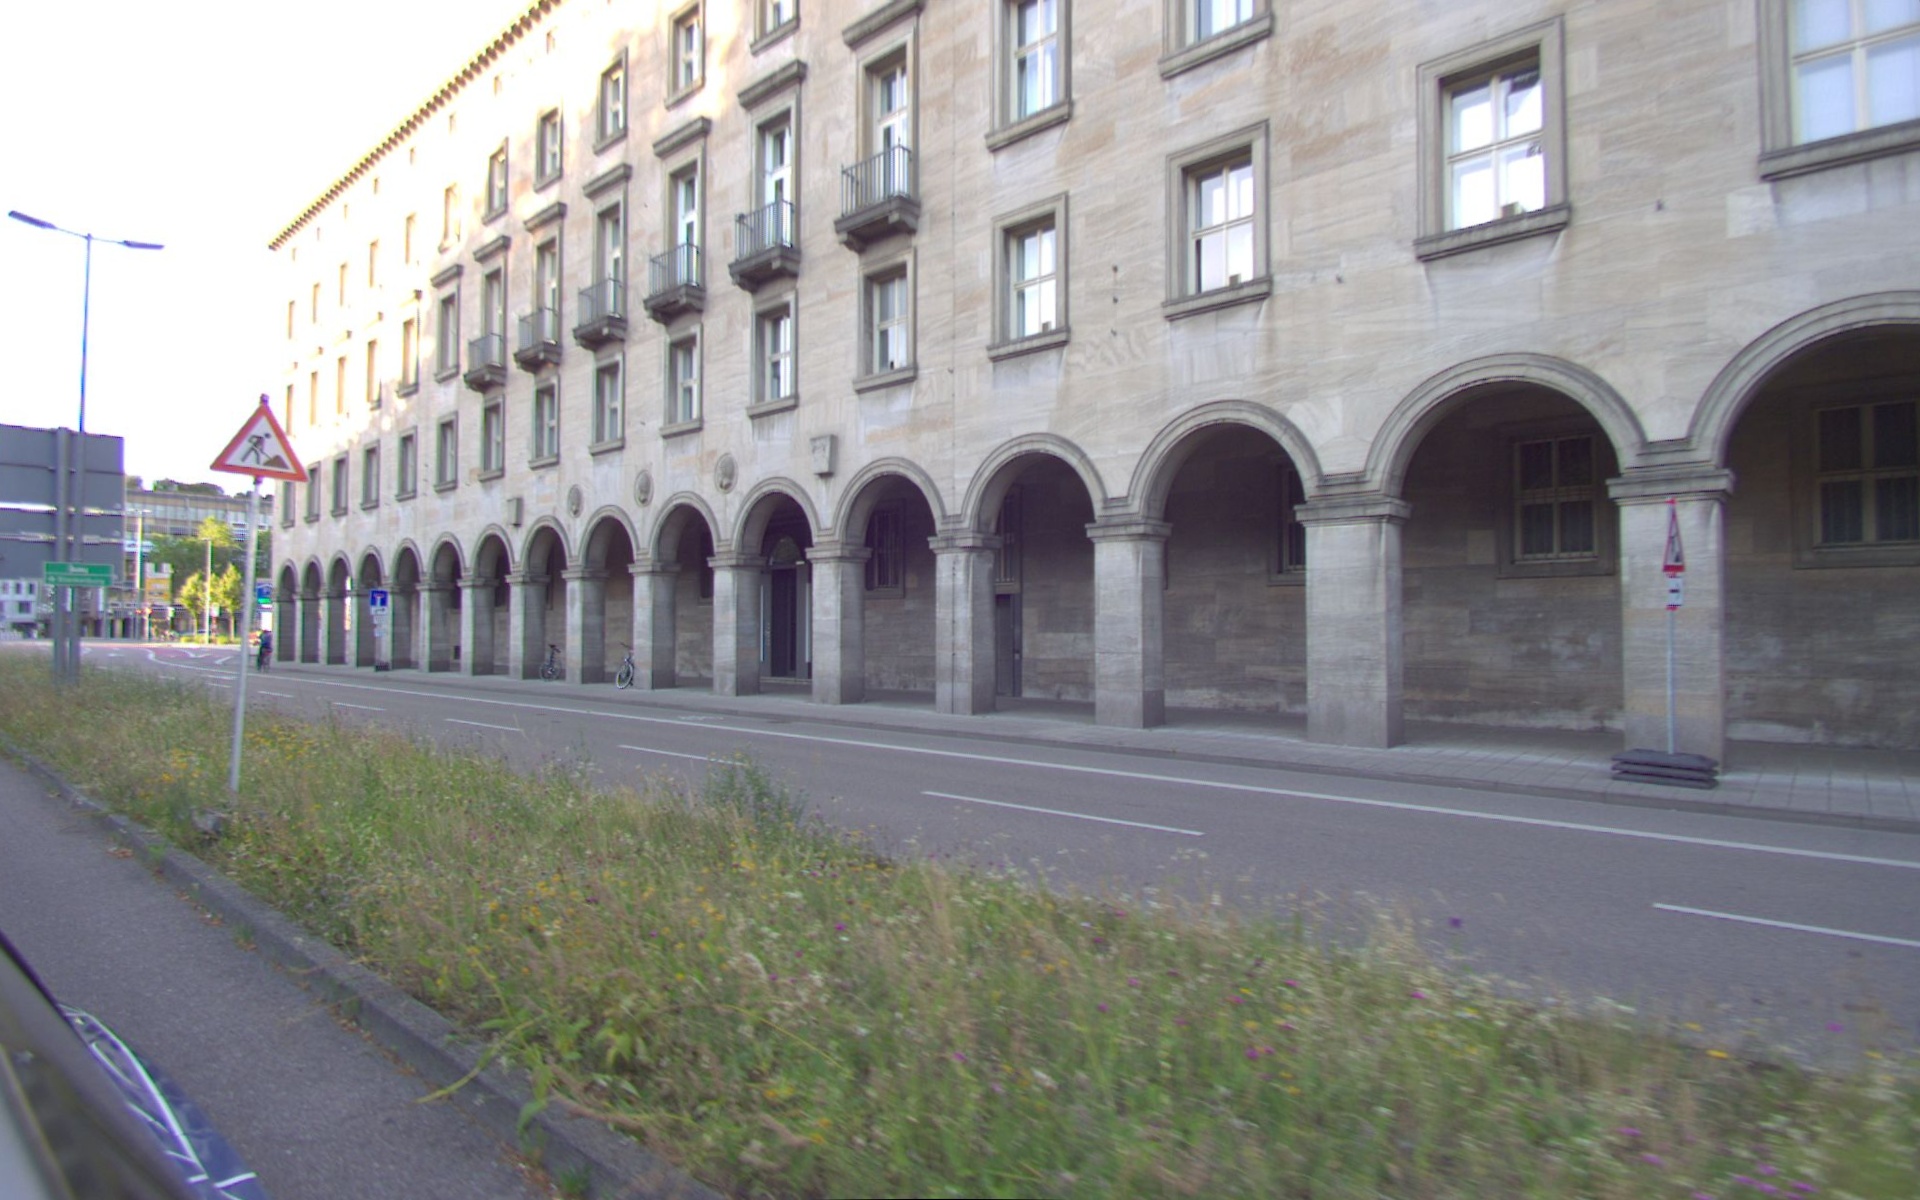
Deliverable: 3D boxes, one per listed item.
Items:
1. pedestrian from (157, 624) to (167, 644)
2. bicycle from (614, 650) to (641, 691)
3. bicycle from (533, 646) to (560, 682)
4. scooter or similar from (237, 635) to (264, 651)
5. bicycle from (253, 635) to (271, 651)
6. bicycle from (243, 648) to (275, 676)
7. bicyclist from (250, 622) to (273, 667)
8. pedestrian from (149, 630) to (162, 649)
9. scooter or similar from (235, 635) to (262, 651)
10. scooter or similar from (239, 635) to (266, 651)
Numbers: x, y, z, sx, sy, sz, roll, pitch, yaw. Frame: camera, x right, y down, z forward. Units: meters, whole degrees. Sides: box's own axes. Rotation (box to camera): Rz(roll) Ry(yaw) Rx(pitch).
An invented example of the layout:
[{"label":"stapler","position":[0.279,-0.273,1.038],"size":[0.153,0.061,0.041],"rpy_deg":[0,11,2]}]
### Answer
[{"label":"pedestrian","position":[-79.210,3.359,100.400],"size":[0.647,1.948,0.652],"rpy_deg":[-3,-4,43]},{"label":"bicycle","position":[-8.798,1.850,26.843],"size":[0.471,1.013,2.010],"rpy_deg":[1,-2,-13]},{"label":"bicycle","position":[-12.419,1.904,30.354],"size":[0.470,1.013,2.011],"rpy_deg":[1,-2,-30]},{"label":"scooter or similar","position":[-60.070,3.646,85.708],"size":[0.422,1.315,1.814],"rpy_deg":[-1,-2,35]},{"label":"bicycle","position":[-58.113,3.557,84.241],"size":[2.507,1.334,0.611],"rpy_deg":[-2,-3,40]},{"label":"bicycle","position":[-27.412,2.406,39.569],"size":[2.004,1.013,0.536],"rpy_deg":[0,-2,42]},{"label":"bicyclist","position":[-27.179,1.722,39.389],"size":[0.748,1.706,0.531],"rpy_deg":[-2,-3,42]},{"label":"pedestrian","position":[-78.654,3.900,98.944],"size":[0.775,1.851,0.862],"rpy_deg":[-2,-3,42]},{"label":"scooter or similar","position":[-60.452,3.661,86.006],"size":[0.416,1.315,1.772],"rpy_deg":[-1,-2,35]},{"label":"scooter or similar","position":[-59.717,3.631,85.442],"size":[0.422,1.315,1.819],"rpy_deg":[-1,-2,35]}]
